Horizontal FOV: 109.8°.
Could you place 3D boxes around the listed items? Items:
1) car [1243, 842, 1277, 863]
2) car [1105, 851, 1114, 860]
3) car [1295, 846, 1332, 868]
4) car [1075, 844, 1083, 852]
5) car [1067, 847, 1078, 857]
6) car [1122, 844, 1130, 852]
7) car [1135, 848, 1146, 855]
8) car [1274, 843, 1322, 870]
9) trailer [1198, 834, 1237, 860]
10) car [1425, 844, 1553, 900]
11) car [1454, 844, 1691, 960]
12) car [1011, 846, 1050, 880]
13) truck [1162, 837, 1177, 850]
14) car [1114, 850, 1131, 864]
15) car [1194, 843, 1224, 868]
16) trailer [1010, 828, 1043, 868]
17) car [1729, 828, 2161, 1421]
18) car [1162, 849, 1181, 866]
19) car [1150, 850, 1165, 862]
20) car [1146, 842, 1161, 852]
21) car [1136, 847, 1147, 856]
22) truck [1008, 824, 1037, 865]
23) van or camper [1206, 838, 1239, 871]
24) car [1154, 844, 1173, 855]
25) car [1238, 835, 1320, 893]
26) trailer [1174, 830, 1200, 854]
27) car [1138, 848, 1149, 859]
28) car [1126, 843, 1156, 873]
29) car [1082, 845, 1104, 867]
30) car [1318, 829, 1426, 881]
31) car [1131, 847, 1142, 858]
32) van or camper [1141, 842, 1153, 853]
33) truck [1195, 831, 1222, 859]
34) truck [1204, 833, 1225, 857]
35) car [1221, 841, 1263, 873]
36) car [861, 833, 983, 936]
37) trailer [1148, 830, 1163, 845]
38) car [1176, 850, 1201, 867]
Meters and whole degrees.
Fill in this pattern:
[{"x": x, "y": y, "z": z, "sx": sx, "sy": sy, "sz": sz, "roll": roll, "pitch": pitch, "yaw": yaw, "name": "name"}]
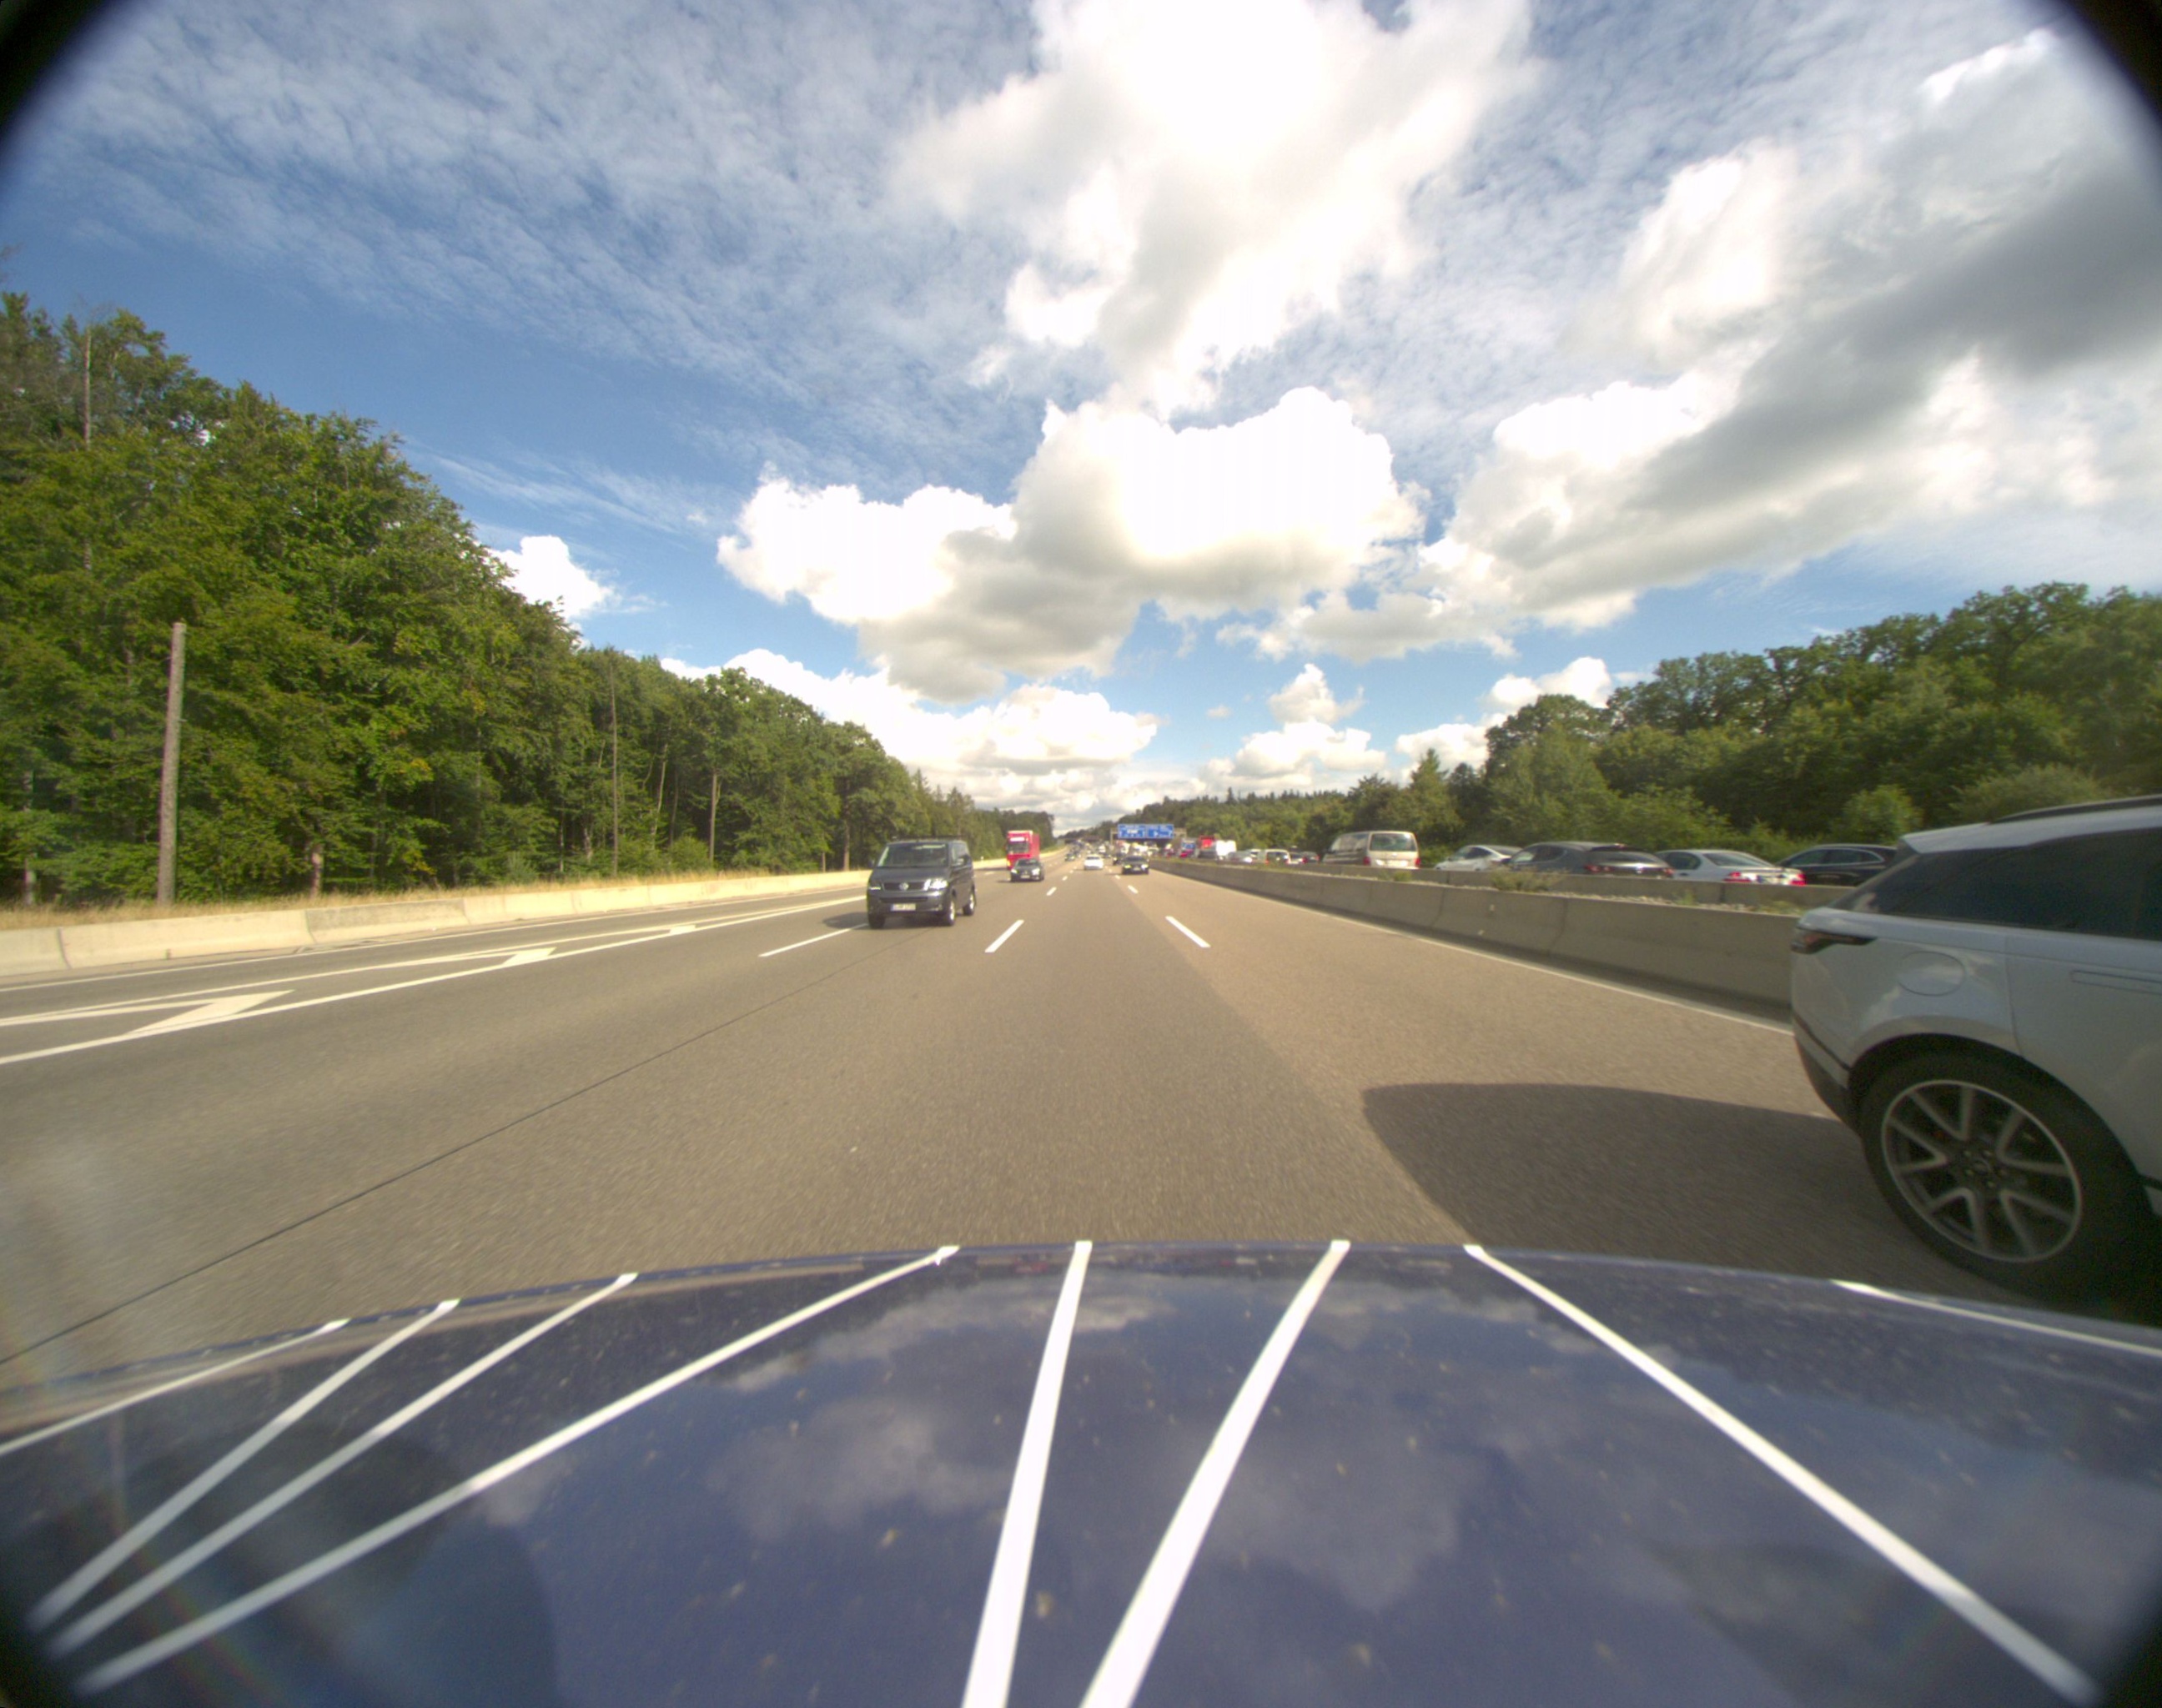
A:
[{"x": 14.968, "y": -0.173, "z": 63.887, "sx": 1.998, "sy": 1.587, "sz": 3.999, "roll": -2, "pitch": 2, "yaw": 2, "name": "car"}, {"x": 5.968, "y": 0.218, "z": 161.665, "sx": 1.804, "sy": 1.783, "sz": 3.757, "roll": -1, "pitch": 1, "yaw": 1, "name": "car"}, {"x": 25.342, "y": 0.332, "z": 82.891, "sx": 2.377, "sy": 2.115, "sz": 5.285, "roll": 2, "pitch": 2, "yaw": 0, "name": "car"}, {"x": -0.528, "y": -1.590, "z": 196.251, "sx": 1.804, "sy": 1.865, "sz": 3.950, "roll": -1, "pitch": 1, "yaw": 1, "name": "car"}, {"x": -1.633, "y": -0.416, "z": 143.747, "sx": 1.911, "sy": 1.582, "sz": 4.285, "roll": -2, "pitch": 2, "yaw": -2, "name": "car"}, {"x": 12.855, "y": -1.604, "z": 215.453, "sx": 1.998, "sy": 2.088, "sz": 5.276, "roll": -2, "pitch": 2, "yaw": 1, "name": "car"}, {"x": 11.445, "y": -0.513, "z": 145.863, "sx": 1.761, "sy": 1.369, "sz": 3.999, "roll": -1, "pitch": 0, "yaw": 0, "name": "car"}, {"x": 14.525, "y": 0.105, "z": 51.146, "sx": 1.998, "sy": 1.587, "sz": 4.523, "roll": -2, "pitch": 2, "yaw": 2, "name": "car"}, {"x": 19.303, "y": -0.941, "z": 108.425, "sx": 2.735, "sy": 3.316, "sz": 14.218, "roll": -2, "pitch": 0, "yaw": 0, "name": "trailer"}, {"x": 13.983, "y": 0.558, "z": 26.401, "sx": 1.998, "sy": 1.723, "sz": 4.762, "roll": -2, "pitch": 0, "yaw": 2, "name": "car"}, {"x": 9.582, "y": 0.804, "z": 15.356, "sx": 1.998, "sy": 1.894, "sz": 4.458, "roll": -2, "pitch": 1, "yaw": 2, "name": "car"}, {"x": -3.034, "y": 0.540, "z": 46.368, "sx": 1.998, "sy": 2.002, "sz": 4.000, "roll": 0, "pitch": 0, "yaw": 2, "name": "car"}, {"x": 19.631, "y": -2.367, "z": 168.533, "sx": 2.334, "sy": 2.785, "sz": 7.948, "roll": -3, "pitch": 1, "yaw": 1, "name": "truck"}, {"x": 5.071, "y": 0.346, "z": 92.923, "sx": 1.911, "sy": 1.582, "sz": 4.286, "roll": -2, "pitch": 2, "yaw": 1, "name": "car"}, {"x": 10.661, "y": 0.085, "z": 63.416, "sx": 1.887, "sy": 2.002, "sz": 4.519, "roll": -1, "pitch": 0, "yaw": 2, "name": "car"}, {"x": -6.125, "y": -0.833, "z": 87.285, "sx": 2.531, "sy": 4.096, "sz": 14.373, "roll": -1, "pitch": 2, "yaw": 0, "name": "trailer"}, {"x": 3.880, "y": 0.751, "z": 0.907, "sx": 1.904, "sy": 1.598, "sz": 5.104, "roll": -2, "pitch": 1, "yaw": 1, "name": "car"}, {"x": 10.792, "y": 0.381, "z": 90.881, "sx": 1.691, "sy": 1.806, "sz": 4.294, "roll": -2, "pitch": 2, "yaw": 0, "name": "car"}, {"x": 10.971, "y": 0.242, "z": 109.034, "sx": 1.728, "sy": 1.594, "sz": 3.999, "roll": -3, "pitch": 1, "yaw": 0, "name": "car"}, {"x": 11.646, "y": -1.157, "z": 121.677, "sx": 1.854, "sy": 1.347, "sz": 5.486, "roll": -2, "pitch": 2, "yaw": 0, "name": "car"}, {"x": 12.746, "y": -0.449, "z": 161.033, "sx": 1.998, "sy": 1.733, "sz": 4.294, "roll": -3, "pitch": 1, "yaw": 1, "name": "car"}, {"x": -6.158, "y": -1.020, "z": 80.602, "sx": 2.532, "sy": 4.179, "sz": 4.652, "roll": -1, "pitch": 2, "yaw": 1, "name": "truck"}, {"x": 14.616, "y": 0.020, "z": 78.673, "sx": 2.144, "sy": 3.154, "sz": 6.243, "roll": -2, "pitch": 1, "yaw": 0, "name": "van or camper"}, {"x": 10.837, "y": -0.648, "z": 99.999, "sx": 1.819, "sy": 1.341, "sz": 6.231, "roll": -3, "pitch": 1, "yaw": 0, "name": "car"}, {"x": 7.147, "y": 0.335, "z": 27.819, "sx": 1.998, "sy": 1.909, "sz": 4.000, "roll": -2, "pitch": 0, "yaw": 2, "name": "car"}, {"x": 19.838, "y": -2.348, "z": 142.919, "sx": 2.778, "sy": 4.211, "sz": 13.654, "roll": -2, "pitch": 2, "yaw": 0, "name": "trailer"}, {"x": 11.700, "y": -0.161, "z": 142.114, "sx": 1.691, "sy": 1.806, "sz": 4.294, "roll": -2, "pitch": 2, "yaw": 0, "name": "car"}, {"x": 4.306, "y": 0.263, "z": 55.307, "sx": 1.919, "sy": 2.002, "sz": 4.000, "roll": -2, "pitch": 1, "yaw": 2, "name": "car"}, {"x": 1.129, "y": 0.184, "z": 71.422, "sx": 1.998, "sy": 2.002, "sz": 4.000, "roll": -1, "pitch": 0, "yaw": 2, "name": "car"}, {"x": 9.901, "y": 0.014, "z": 26.334, "sx": 1.998, "sy": 1.563, "sz": 4.815, "roll": -2, "pitch": 0, "yaw": 2, "name": "car"}, {"x": 11.679, "y": -0.335, "z": 160.012, "sx": 1.998, "sy": 2.002, "sz": 4.408, "roll": -1, "pitch": 2, "yaw": 1, "name": "car"}, {"x": 17.020, "y": -1.681, "z": 196.568, "sx": 2.397, "sy": 2.696, "sz": 6.629, "roll": -2, "pitch": 2, "yaw": 0, "name": "van or camper"}, {"x": 19.250, "y": -1.367, "z": 115.335, "sx": 2.783, "sy": 3.915, "sz": 6.852, "roll": -2, "pitch": 1, "yaw": 0, "name": "truck"}, {"x": 24.187, "y": -1.676, "z": 137.523, "sx": 2.818, "sy": 4.126, "sz": 5.451, "roll": -1, "pitch": 2, "yaw": 0, "name": "truck"}, {"x": 10.803, "y": 0.186, "z": 51.318, "sx": 1.910, "sy": 2.002, "sz": 5.091, "roll": -1, "pitch": 0, "yaw": 2, "name": "car"}, {"x": -3.708, "y": 0.616, "z": 18.706, "sx": 1.927, "sy": 2.153, "sz": 4.960, "roll": -1, "pitch": 1, "yaw": 0, "name": "car"}, {"x": 21.523, "y": -4.805, "z": 221.125, "sx": 2.837, "sy": 3.953, "sz": 15.999, "roll": -2, "pitch": 2, "yaw": 1, "name": "trailer"}, {"x": 11.034, "y": 0.409, "z": 78.131, "sx": 1.841, "sy": 1.582, "sz": 4.288, "roll": 2, "pitch": 1, "yaw": 0, "name": "car"}]
